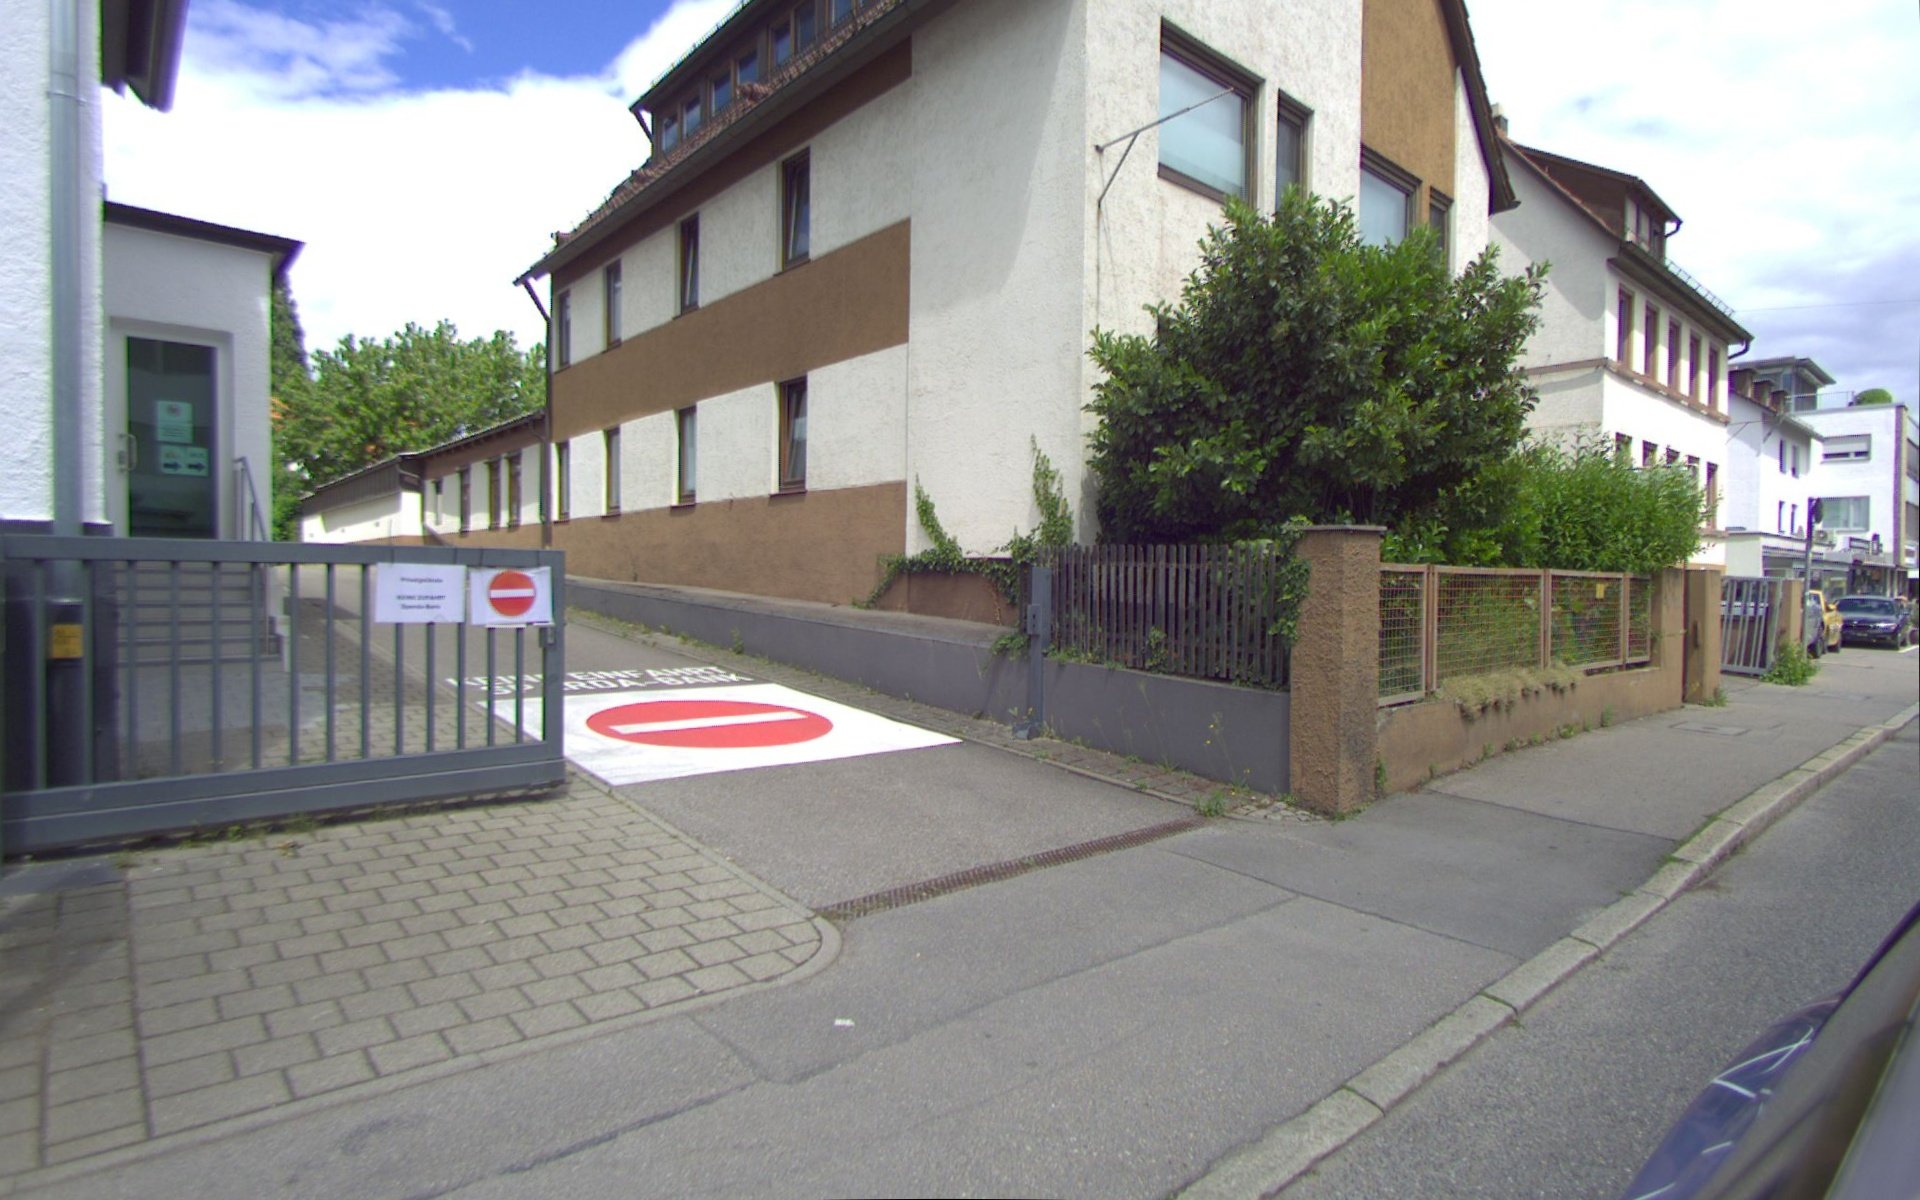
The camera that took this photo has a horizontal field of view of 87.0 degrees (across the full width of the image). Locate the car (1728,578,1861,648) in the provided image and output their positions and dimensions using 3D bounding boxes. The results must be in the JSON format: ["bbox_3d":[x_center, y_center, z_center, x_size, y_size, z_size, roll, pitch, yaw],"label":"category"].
[{"bbox_3d":[19.230,0.245,23.271,3.934,1.430,1.922,0,2,-44],"label":"car"}]

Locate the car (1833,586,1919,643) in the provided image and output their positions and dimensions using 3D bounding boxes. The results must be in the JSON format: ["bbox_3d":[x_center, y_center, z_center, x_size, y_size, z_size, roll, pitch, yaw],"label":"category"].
[{"bbox_3d":[25.767,0.357,28.299,3.933,1.439,1.654,0,2,-43],"label":"car"}]

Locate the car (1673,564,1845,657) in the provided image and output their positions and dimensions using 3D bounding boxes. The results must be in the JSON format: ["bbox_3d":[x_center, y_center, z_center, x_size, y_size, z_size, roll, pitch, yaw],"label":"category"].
[{"bbox_3d":[15.825,0.146,19.981,4.030,1.639,1.997,0,2,-42],"label":"car"}]
